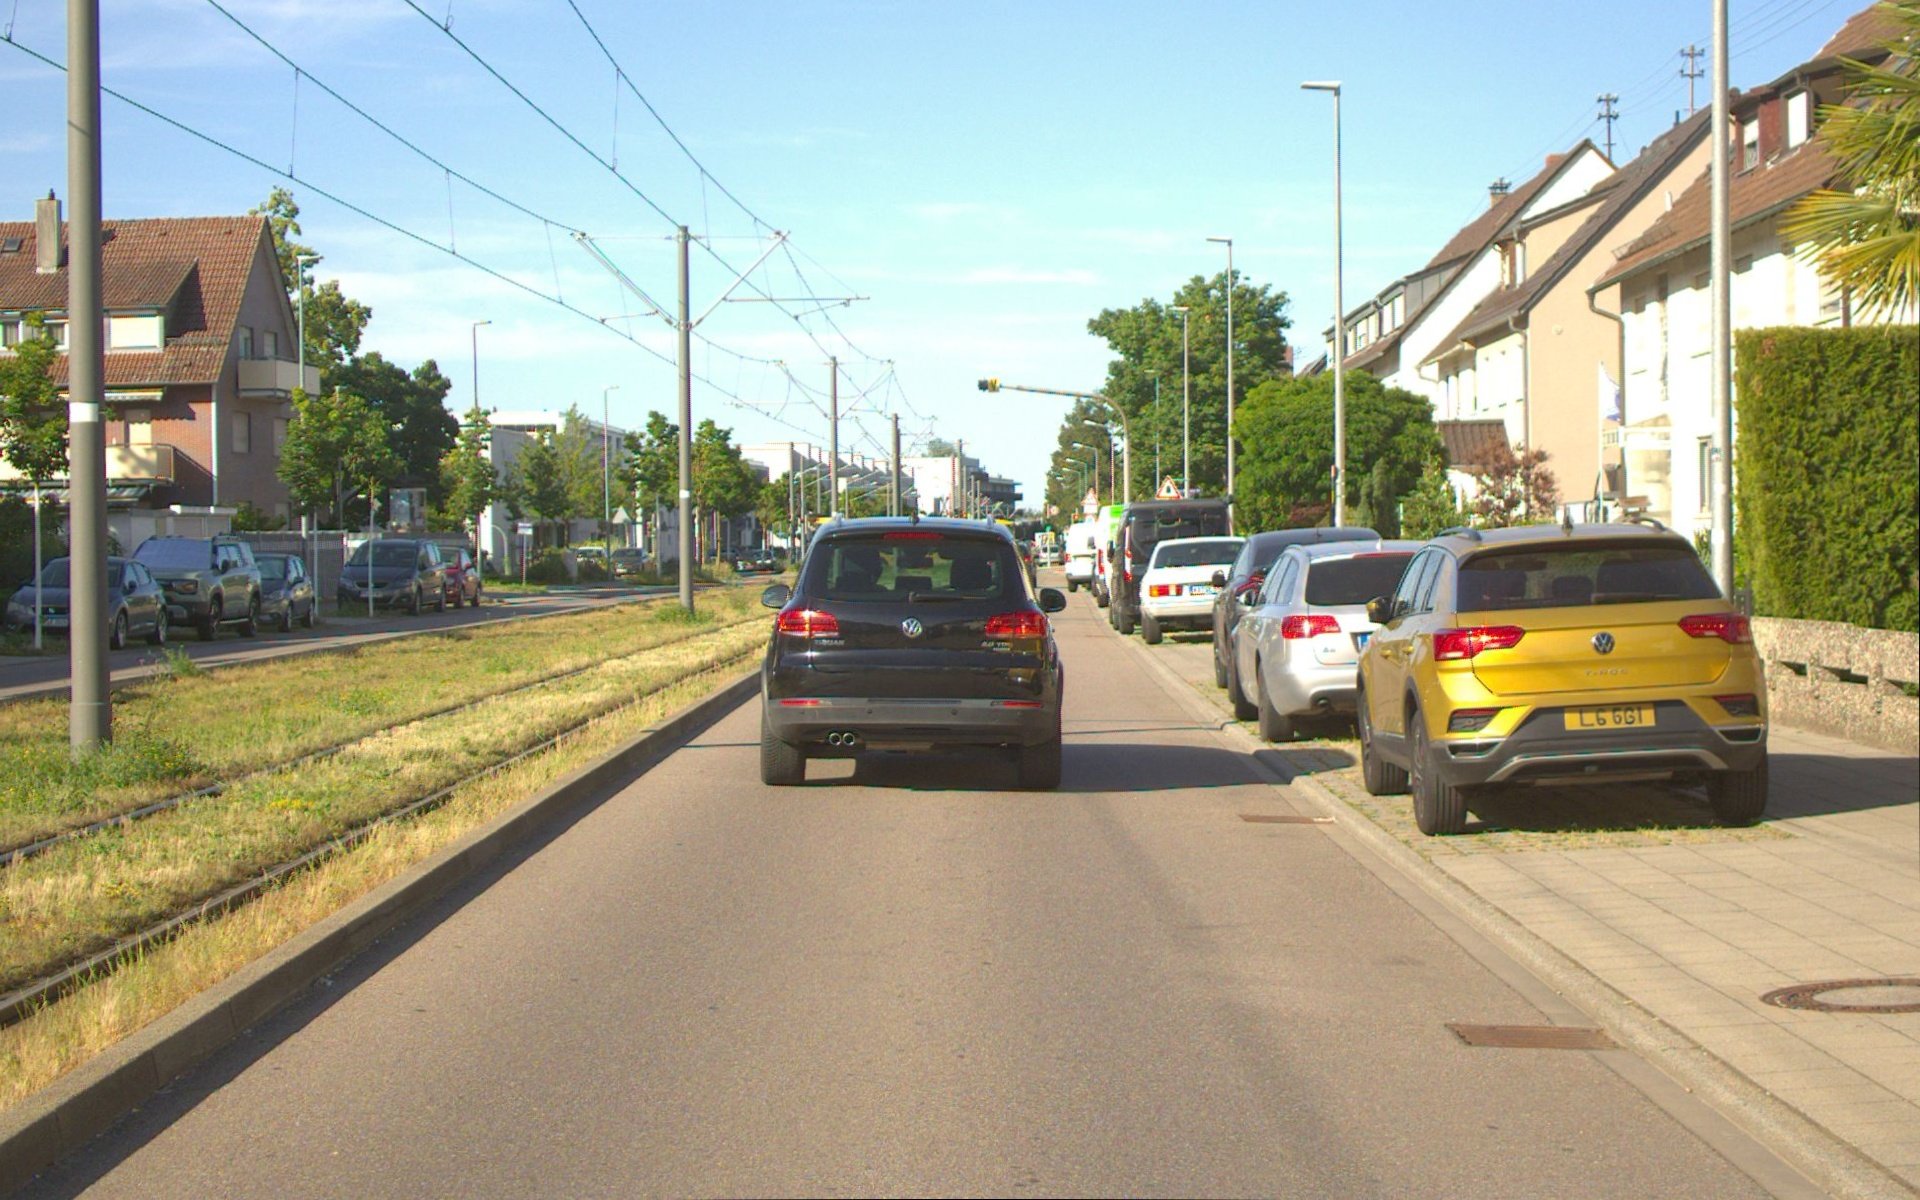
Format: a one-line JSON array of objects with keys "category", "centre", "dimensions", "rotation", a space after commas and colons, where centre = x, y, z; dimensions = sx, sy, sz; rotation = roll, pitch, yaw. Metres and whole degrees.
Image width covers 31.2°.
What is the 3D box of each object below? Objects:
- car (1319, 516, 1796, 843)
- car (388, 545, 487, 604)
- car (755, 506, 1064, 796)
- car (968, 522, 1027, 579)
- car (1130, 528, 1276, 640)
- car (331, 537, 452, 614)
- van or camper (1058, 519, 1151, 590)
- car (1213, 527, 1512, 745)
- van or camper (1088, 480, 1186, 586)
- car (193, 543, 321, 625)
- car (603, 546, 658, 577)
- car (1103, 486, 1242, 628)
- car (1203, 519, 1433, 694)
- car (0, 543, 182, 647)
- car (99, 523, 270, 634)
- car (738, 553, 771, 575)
[{"category": "car", "centre": [3.178, 0.357, 19.260], "dimensions": [1.805, 1.553, 4.926], "rotation": [-2, 1, 0]}, {"category": "car", "centre": [-12.898, -0.651, 85.108], "dimensions": [1.695, 1.400, 4.078], "rotation": [-1, 1, 2]}, {"category": "car", "centre": [-0.315, 0.275, 22.068], "dimensions": [1.775, 1.664, 4.000], "rotation": [1, 1, -1]}, {"category": "car", "centre": [1.221, -1.644, 113.219], "dimensions": [1.627, 1.822, 4.131], "rotation": [-1, 1, -3]}, {"category": "car", "centre": [3.420, -0.272, 49.236], "dimensions": [1.853, 1.439, 5.613], "rotation": [-2, 1, 2]}, {"category": "car", "centre": [-13.039, -0.587, 79.054], "dimensions": [1.819, 1.678, 4.846], "rotation": [1, 1, 2]}, {"category": "van or camper", "centre": [4.201, -1.337, 99.009], "dimensions": [2.028, 1.949, 5.293], "rotation": [-1, 1, 9]}, {"category": "car", "centre": [3.018, 0.204, 26.650], "dimensions": [1.748, 1.442, 4.699], "rotation": [-1, 2, 0]}, {"category": "van or camper", "centre": [3.998, -1.495, 78.391], "dimensions": [1.993, 2.263, 6.304], "rotation": [-2, 1, 1]}, {"category": "car", "centre": [-13.492, -0.333, 66.161], "dimensions": [1.676, 1.485, 4.050], "rotation": [1, 1, -1]}, {"category": "car", "centre": [-15.818, -1.861, 165.171], "dimensions": [1.811, 1.456, 4.316], "rotation": [1, 1, 6]}, {"category": "car", "centre": [3.396, -0.697, 55.855], "dimensions": [1.960, 2.137, 5.335], "rotation": [-2, 1, 1]}, {"category": "car", "centre": [3.266, 0.008, 32.147], "dimensions": [1.777, 1.493, 4.728], "rotation": [-1, 1, 2]}, {"category": "car", "centre": [-13.776, -0.103, 54.056], "dimensions": [1.960, 1.535, 4.557], "rotation": [1, 1, 1]}, {"category": "car", "centre": [-13.514, -0.399, 60.174], "dimensions": [1.745, 1.816, 4.841], "rotation": [1, 1, 1]}, {"category": "car", "centre": [-13.642, -2.410, 228.242], "dimensions": [1.688, 1.384, 4.387], "rotation": [-2, 1, 3]}]
